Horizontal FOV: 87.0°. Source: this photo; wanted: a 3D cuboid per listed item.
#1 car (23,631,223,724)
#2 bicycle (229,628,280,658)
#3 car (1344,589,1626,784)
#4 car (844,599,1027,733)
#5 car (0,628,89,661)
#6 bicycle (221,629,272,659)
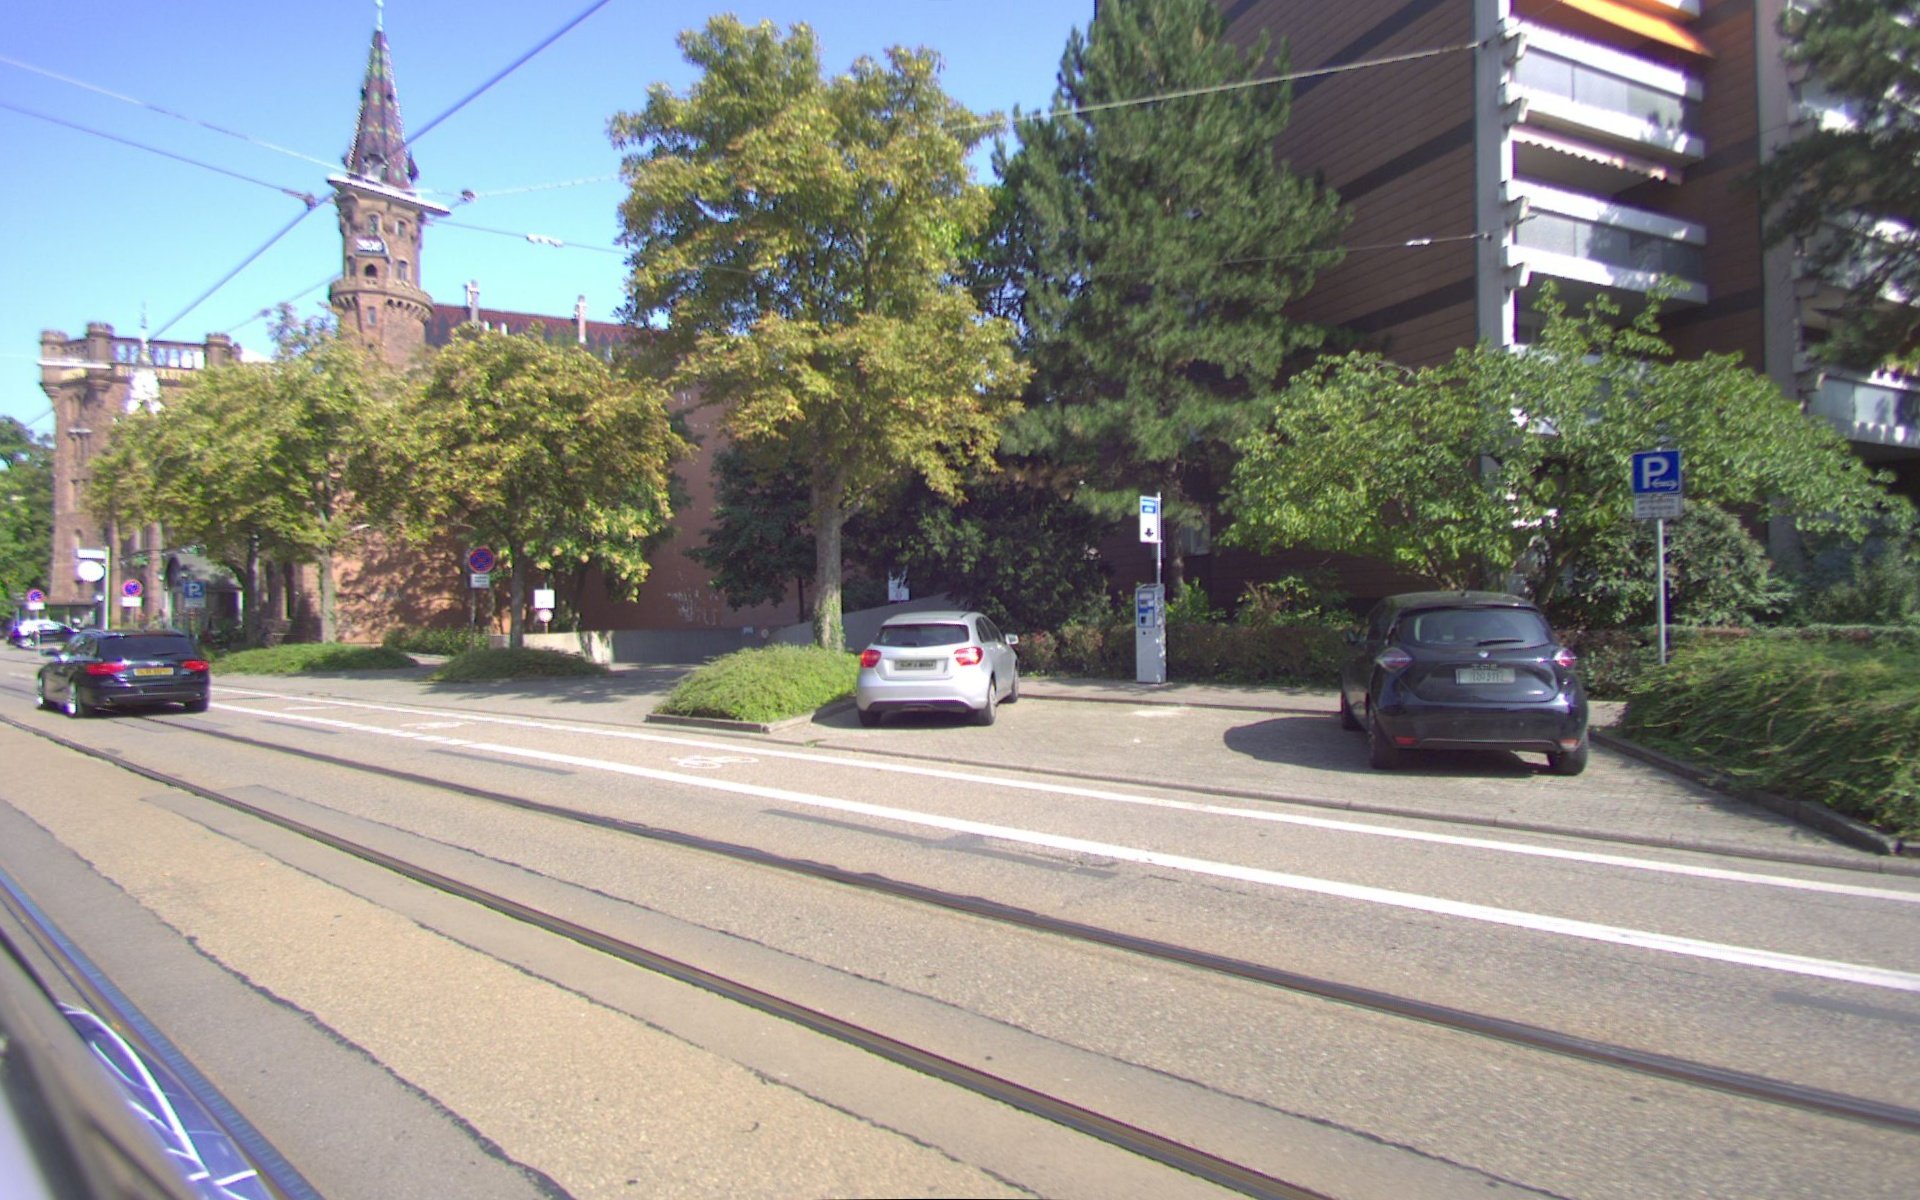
[{"bbox_3d":[-14.481,1.245,17.419,4.508,1.386,1.810,-2,-2,39],"label":"car"},{"bbox_3d":[-29.477,1.791,42.313,0.417,1.082,1.799,-2,3,17],"label":"bicycle"},{"bbox_3d":[4.852,0.685,9.883,1.606,1.526,3.629,-2,0,14],"label":"car"},{"bbox_3d":[-0.186,0.807,14.198,1.769,1.490,3.988,-2,1,10],"label":"car"},{"bbox_3d":[-59.222,2.832,65.197,1.955,1.657,4.353,-2,3,41],"label":"car"},{"bbox_3d":[-29.913,1.844,42.462,0.417,1.082,1.799,-2,3,17],"label":"bicycle"}]
